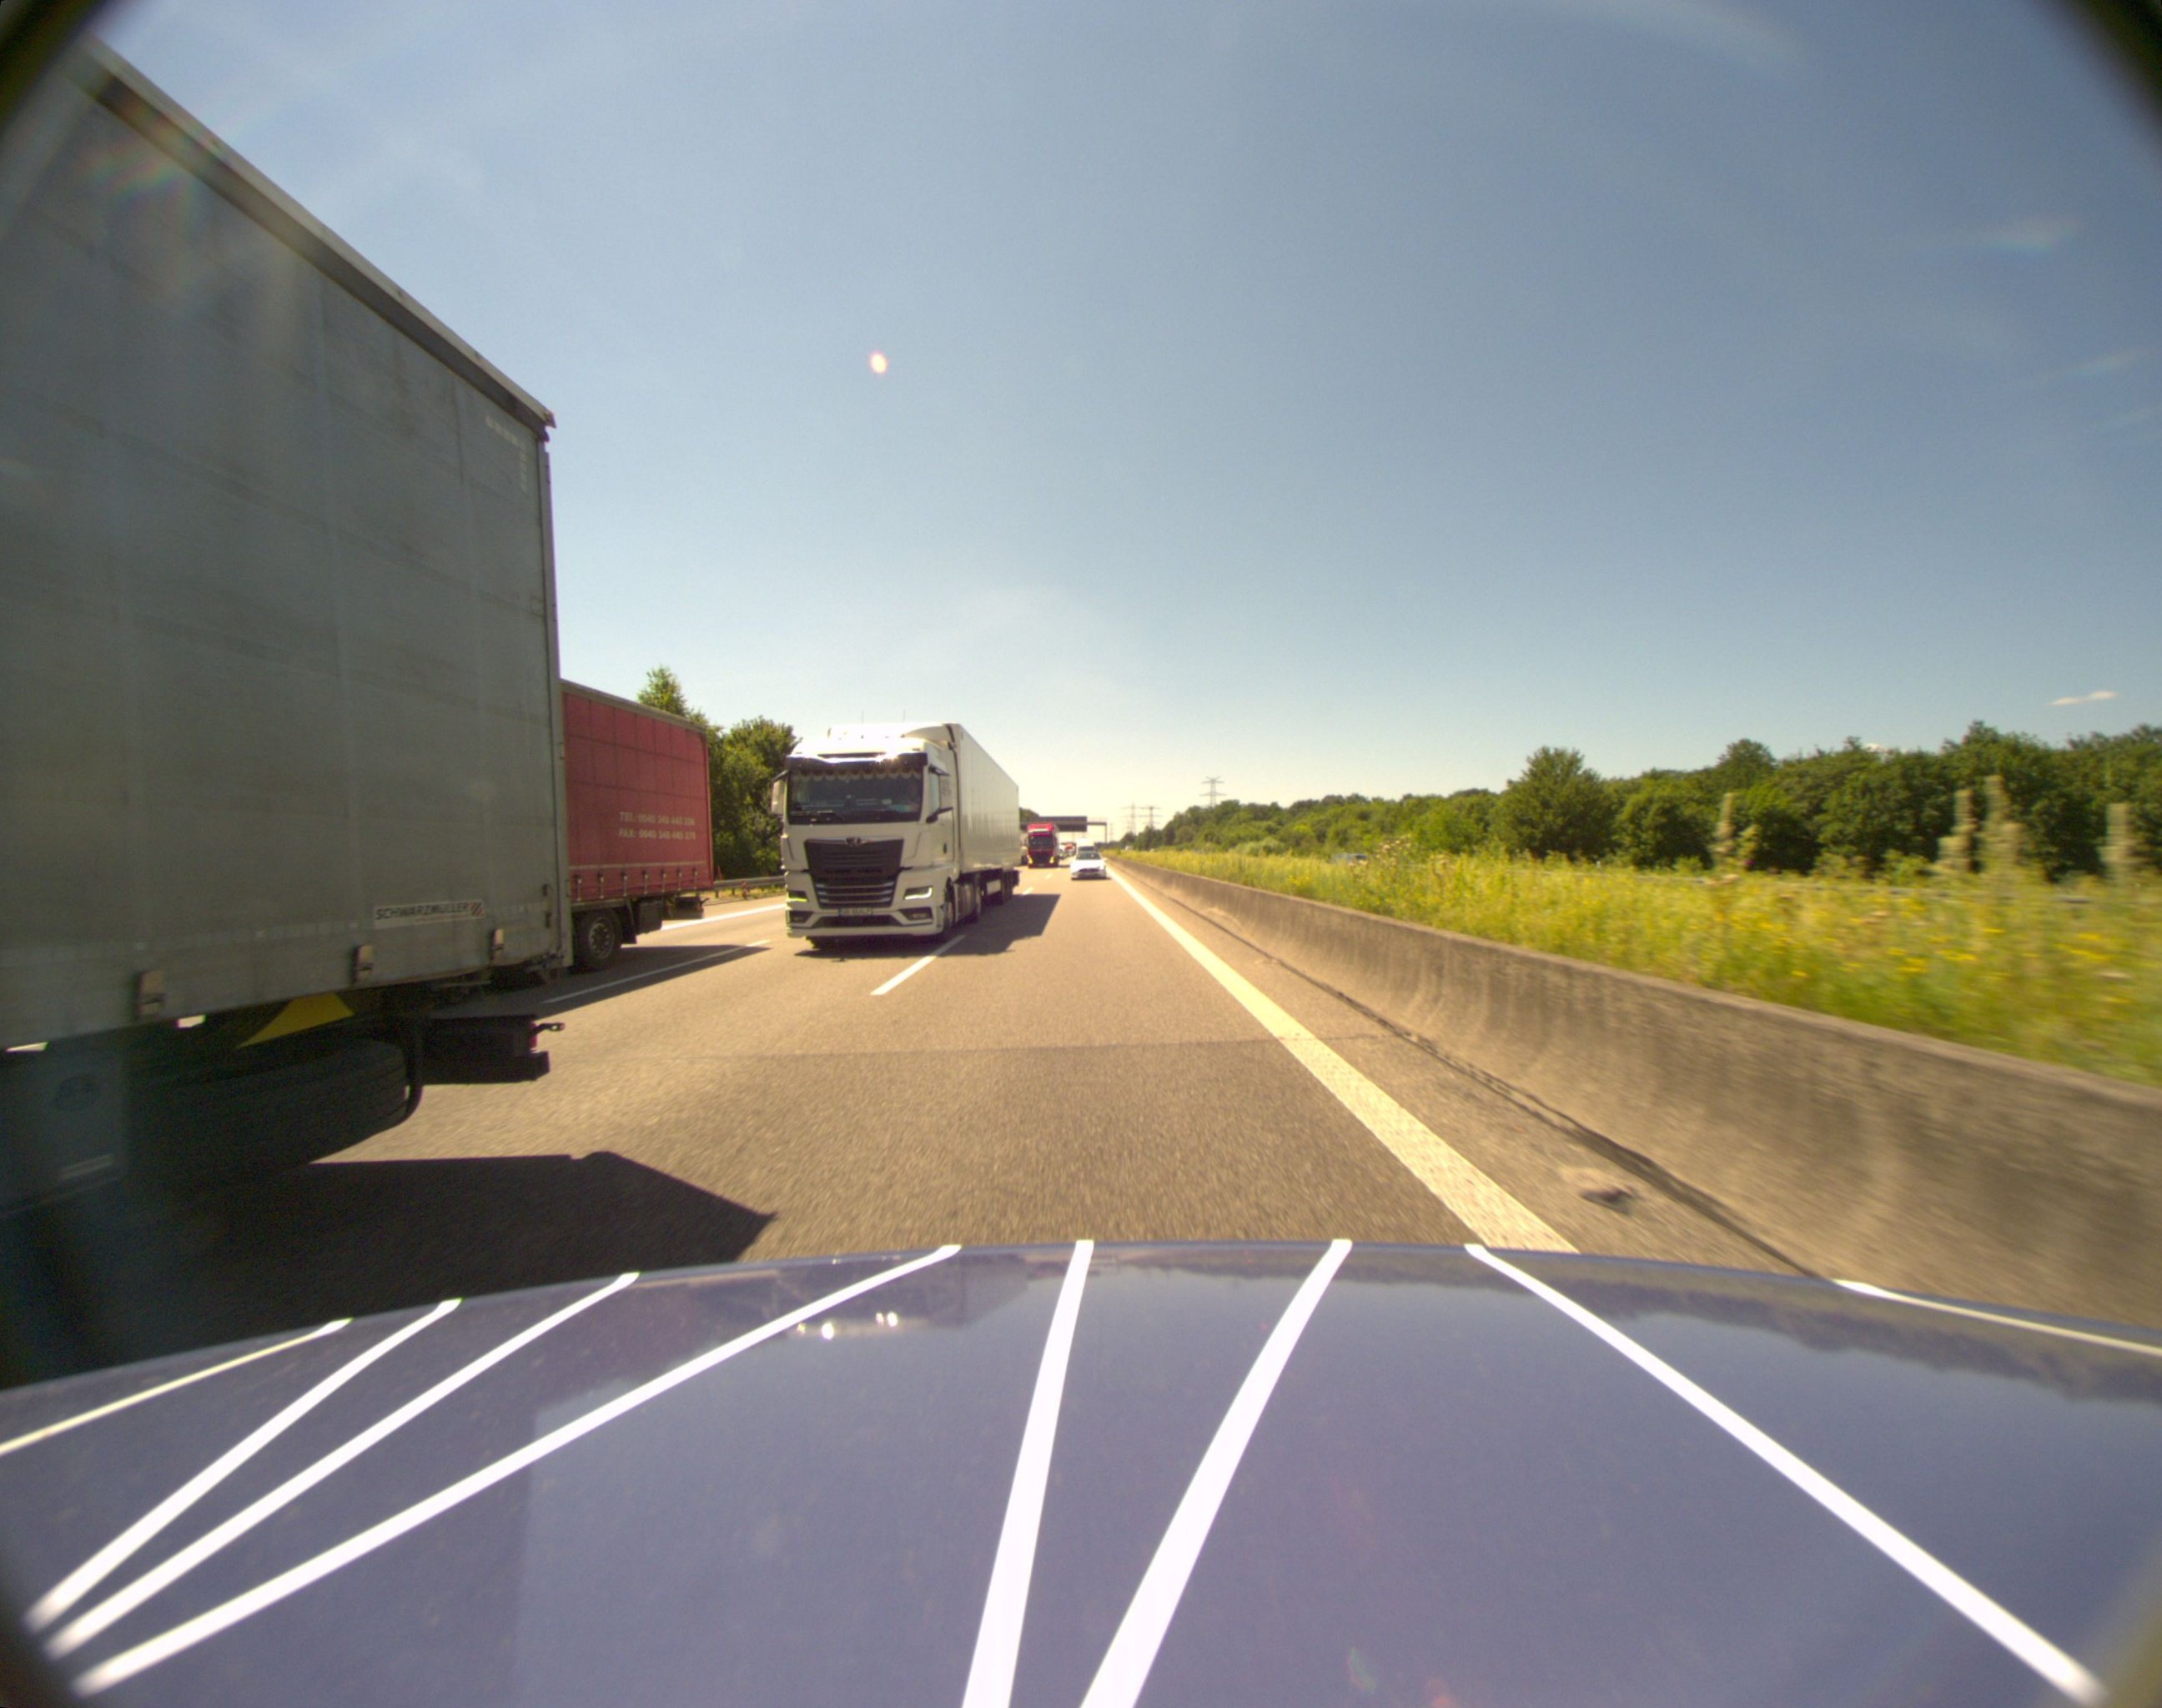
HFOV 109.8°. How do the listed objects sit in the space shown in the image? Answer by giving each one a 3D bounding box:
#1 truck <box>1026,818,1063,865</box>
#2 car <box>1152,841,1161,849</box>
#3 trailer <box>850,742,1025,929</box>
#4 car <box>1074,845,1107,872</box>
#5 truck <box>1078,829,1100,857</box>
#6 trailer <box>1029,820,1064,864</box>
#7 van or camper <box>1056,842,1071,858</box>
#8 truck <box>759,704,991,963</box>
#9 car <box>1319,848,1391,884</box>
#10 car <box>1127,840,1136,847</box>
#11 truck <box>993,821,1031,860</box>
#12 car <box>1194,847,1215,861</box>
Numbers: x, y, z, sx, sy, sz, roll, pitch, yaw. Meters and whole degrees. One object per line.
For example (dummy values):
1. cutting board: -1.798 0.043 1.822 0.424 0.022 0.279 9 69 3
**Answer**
1. truck: -3.218 -1.096 68.467 2.948 3.963 6.100 -2 1 -1
2. car: 18.745 -2.196 188.712 1.886 2.002 5.074 -1 1 0
3. trailer: -3.583 -0.468 22.834 2.802 4.012 12.565 -1 1 0
4. car: 0.504 0.234 43.910 1.788 1.462 3.999 -1 1 -1
5. truck: 0.862 -1.147 81.474 2.192 2.841 5.503 -1 1 -1
6. trailer: -3.352 -1.195 77.820 2.945 3.995 16.196 -2 1 -1
7. van or camper: -2.991 -0.682 129.751 2.412 2.483 6.431 -1 0 -1
8. truck: -3.564 -0.350 14.896 2.807 3.984 6.019 -1 1 0
9. car: 13.860 0.557 38.740 1.937 1.738 4.487 0 1 -2
10. car: 14.934 -3.041 225.865 1.998 2.002 6.555 -3 1 0
11. truck: -7.727 -1.518 86.635 3.033 4.069 10.976 -2 1 0
12. car: 15.112 -0.066 93.239 1.828 1.643 4.170 1 1 0
